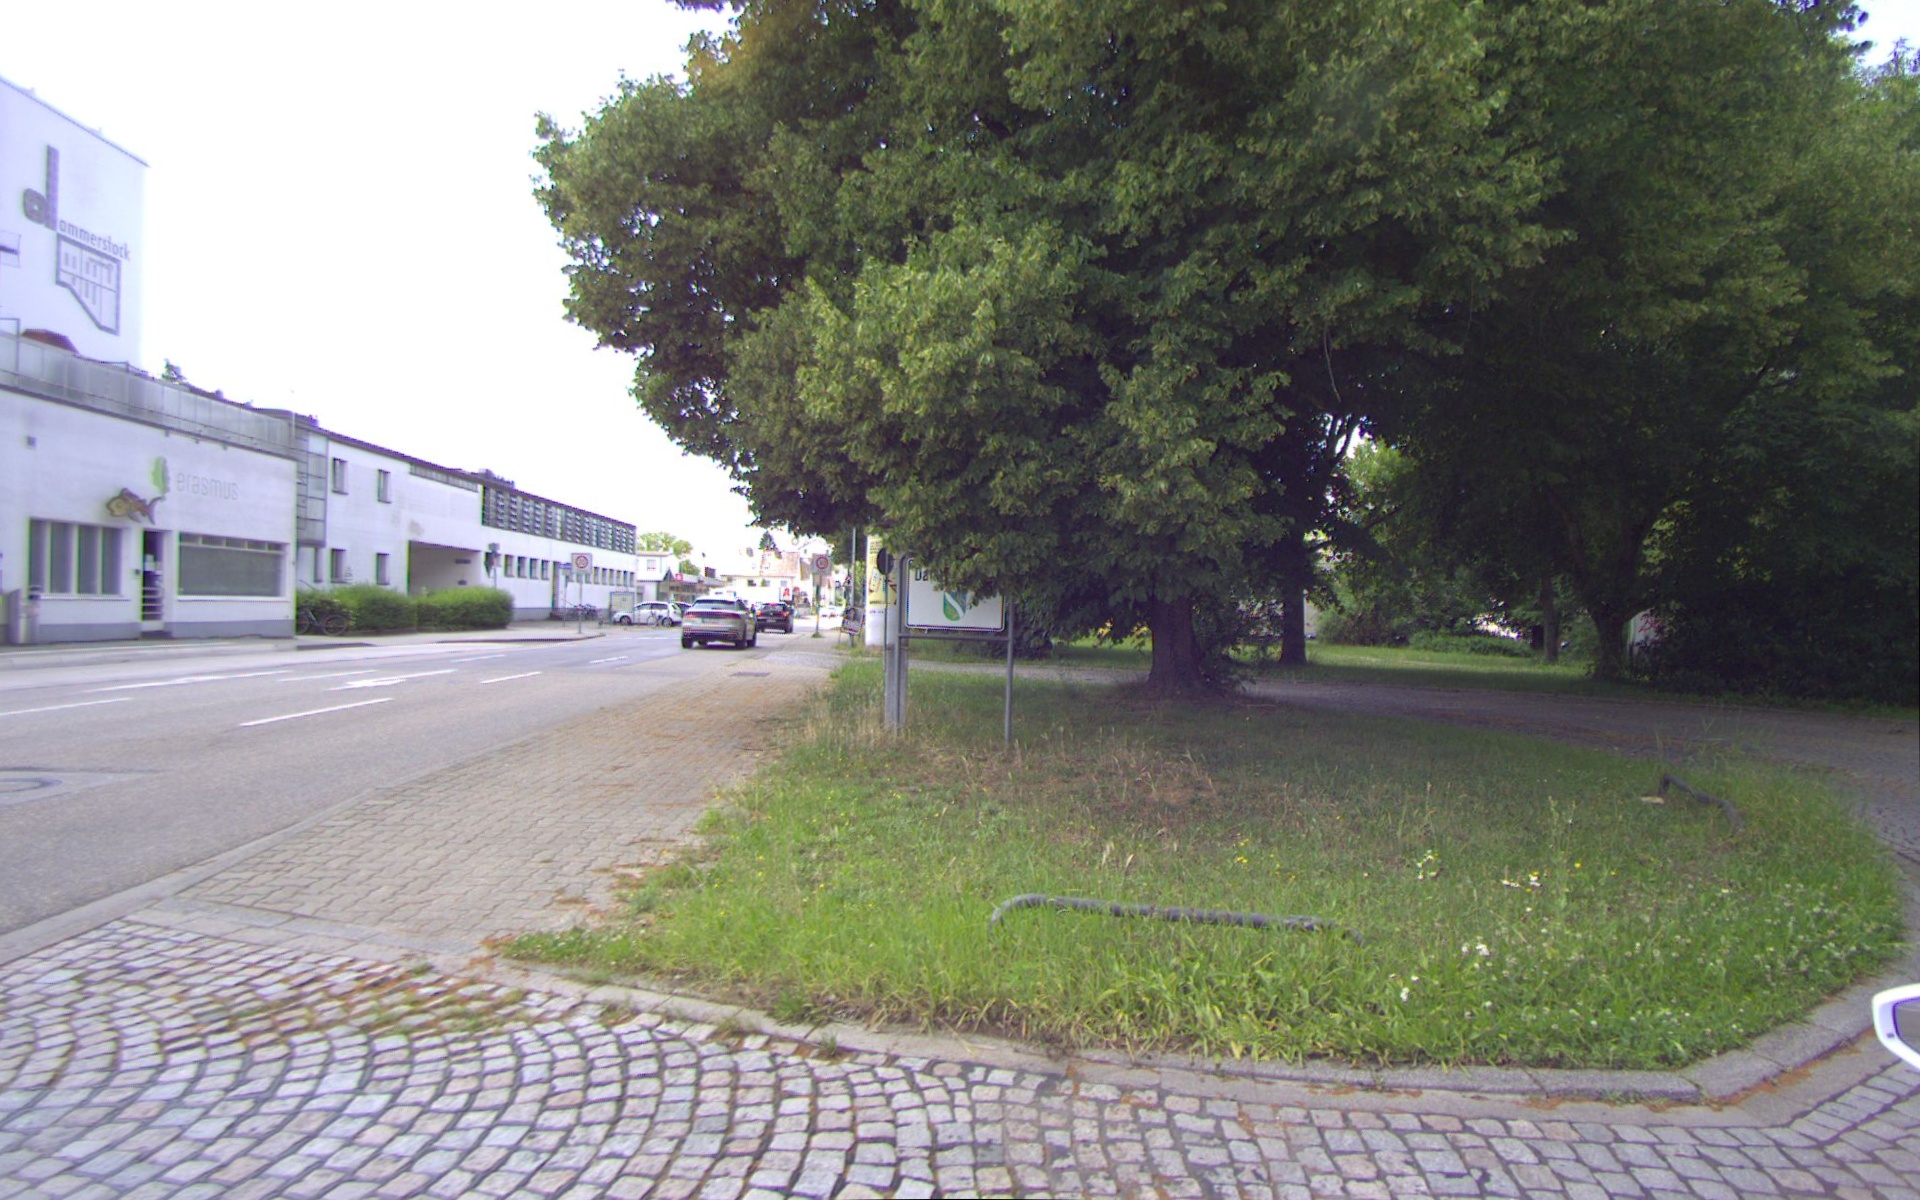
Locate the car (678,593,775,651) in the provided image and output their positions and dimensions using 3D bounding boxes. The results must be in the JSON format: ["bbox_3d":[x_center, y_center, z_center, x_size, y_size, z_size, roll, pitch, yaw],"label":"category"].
[{"bbox_3d":[-7.652,0.687,33.399,1.948,1.706,4.575,3,0,2],"label":"car"}]

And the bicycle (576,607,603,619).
[{"bbox_3d":[-25.657,0.893,69.584,1.655,0.767,0.566,3,-1,-30],"label":"bicycle"}]

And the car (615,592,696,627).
[{"bbox_3d":[-18.993,0.587,62.896,4.562,2.040,1.997,2,-1,-9],"label":"car"}]

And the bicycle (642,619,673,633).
[{"bbox_3d":[-17.693,1.519,58.755,1.645,0.767,0.569,3,-1,-9],"label":"bicycle"}]

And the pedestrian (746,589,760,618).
[{"bbox_3d":[-16.159,0.270,78.385,0.894,2.164,1.013,2,0,-3],"label":"pedestrian"}]

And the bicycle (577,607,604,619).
[{"bbox_3d":[-25.354,0.910,68.873,1.655,0.767,0.566,3,-1,-30],"label":"bicycle"}]

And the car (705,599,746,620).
[{"bbox_3d":[-23.684,0.938,101.556,3.928,2.040,1.997,1,0,-10],"label":"car"}]

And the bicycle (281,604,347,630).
[{"bbox_3d":[-20.014,0.540,31.163,1.650,0.767,0.409,1,0,-22],"label":"bicycle"}]
